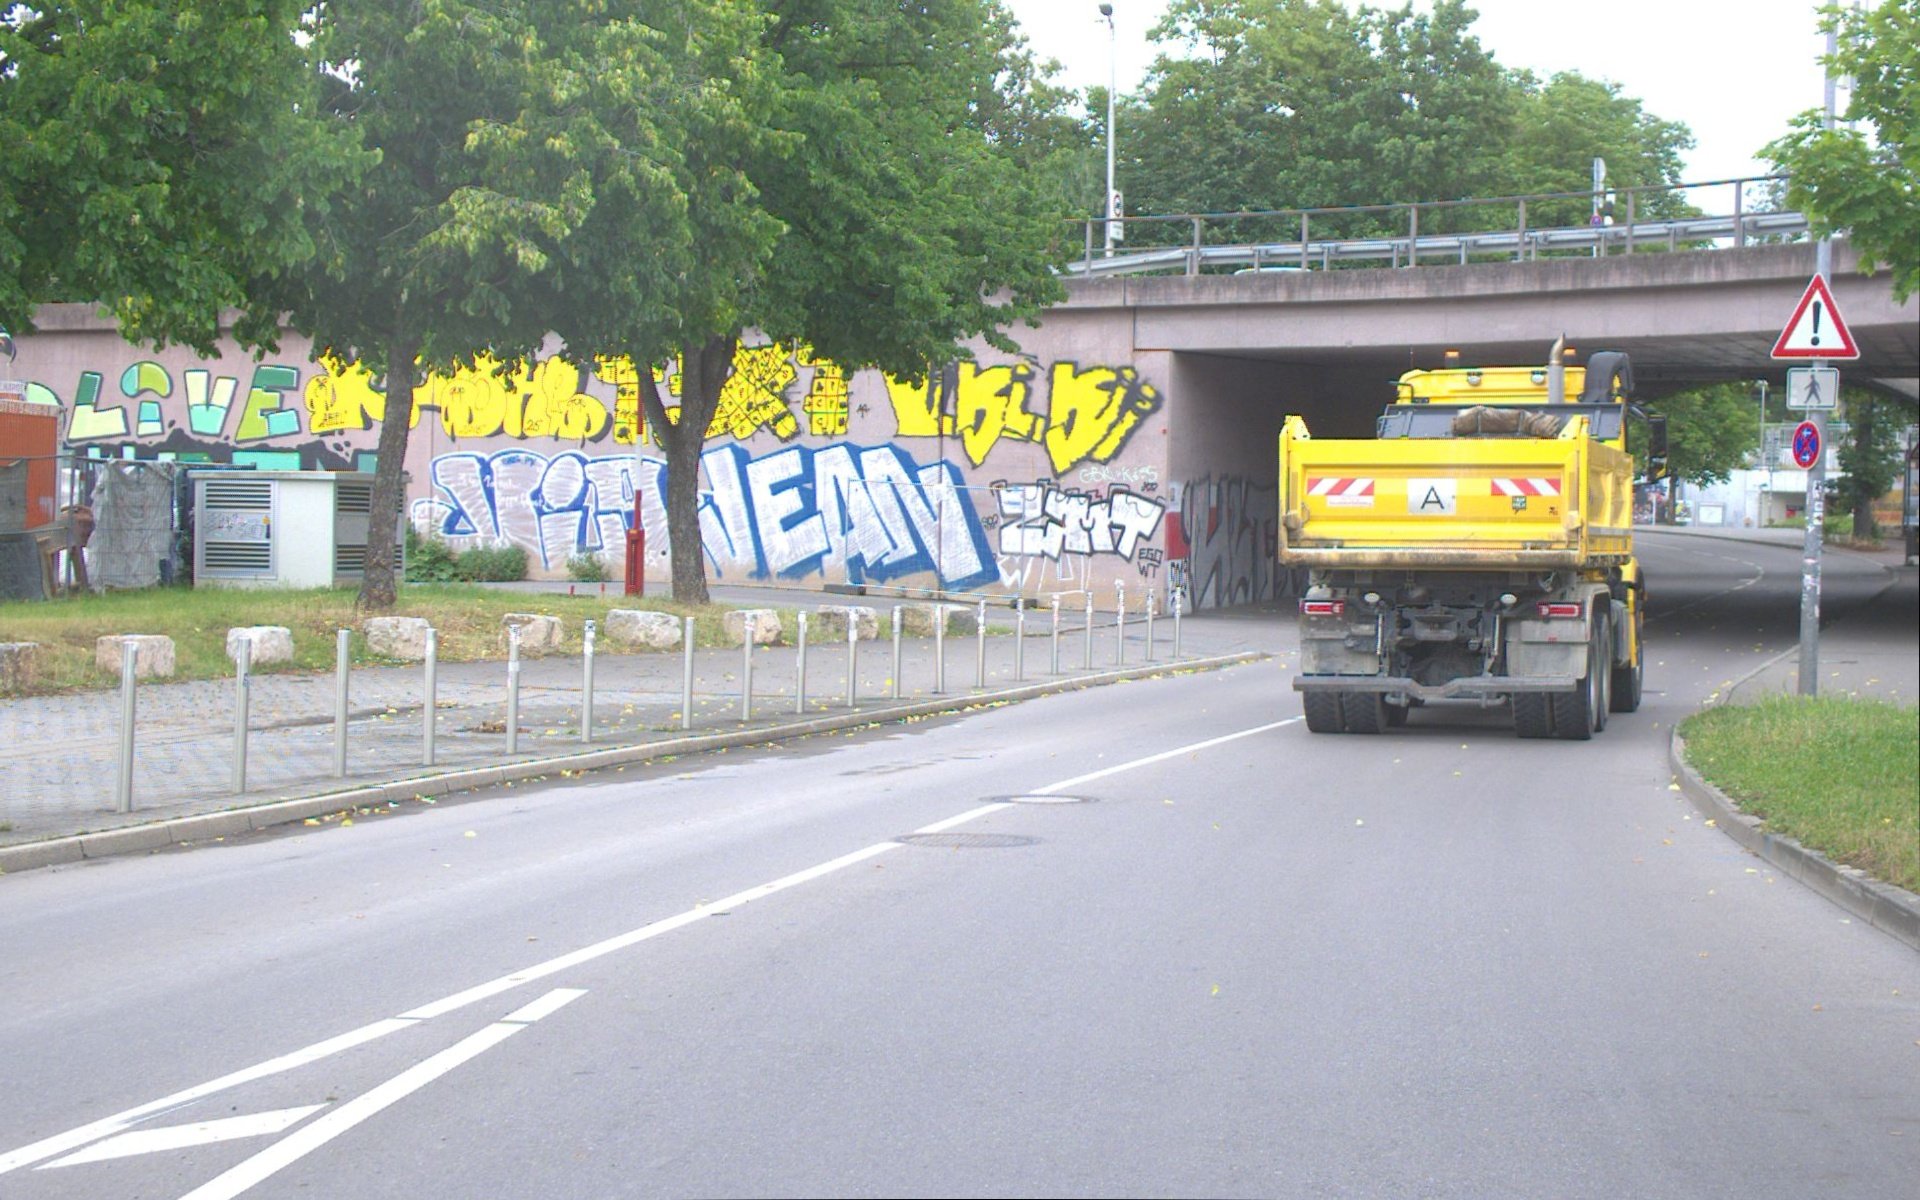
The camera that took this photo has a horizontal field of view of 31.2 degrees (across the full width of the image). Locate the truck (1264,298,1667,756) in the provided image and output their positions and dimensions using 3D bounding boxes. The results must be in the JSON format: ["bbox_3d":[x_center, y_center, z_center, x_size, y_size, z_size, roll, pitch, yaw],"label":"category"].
[{"bbox_3d":[4.925,-0.657,32.130,2.760,3.686,7.875,2,1,15],"label":"truck"}]
